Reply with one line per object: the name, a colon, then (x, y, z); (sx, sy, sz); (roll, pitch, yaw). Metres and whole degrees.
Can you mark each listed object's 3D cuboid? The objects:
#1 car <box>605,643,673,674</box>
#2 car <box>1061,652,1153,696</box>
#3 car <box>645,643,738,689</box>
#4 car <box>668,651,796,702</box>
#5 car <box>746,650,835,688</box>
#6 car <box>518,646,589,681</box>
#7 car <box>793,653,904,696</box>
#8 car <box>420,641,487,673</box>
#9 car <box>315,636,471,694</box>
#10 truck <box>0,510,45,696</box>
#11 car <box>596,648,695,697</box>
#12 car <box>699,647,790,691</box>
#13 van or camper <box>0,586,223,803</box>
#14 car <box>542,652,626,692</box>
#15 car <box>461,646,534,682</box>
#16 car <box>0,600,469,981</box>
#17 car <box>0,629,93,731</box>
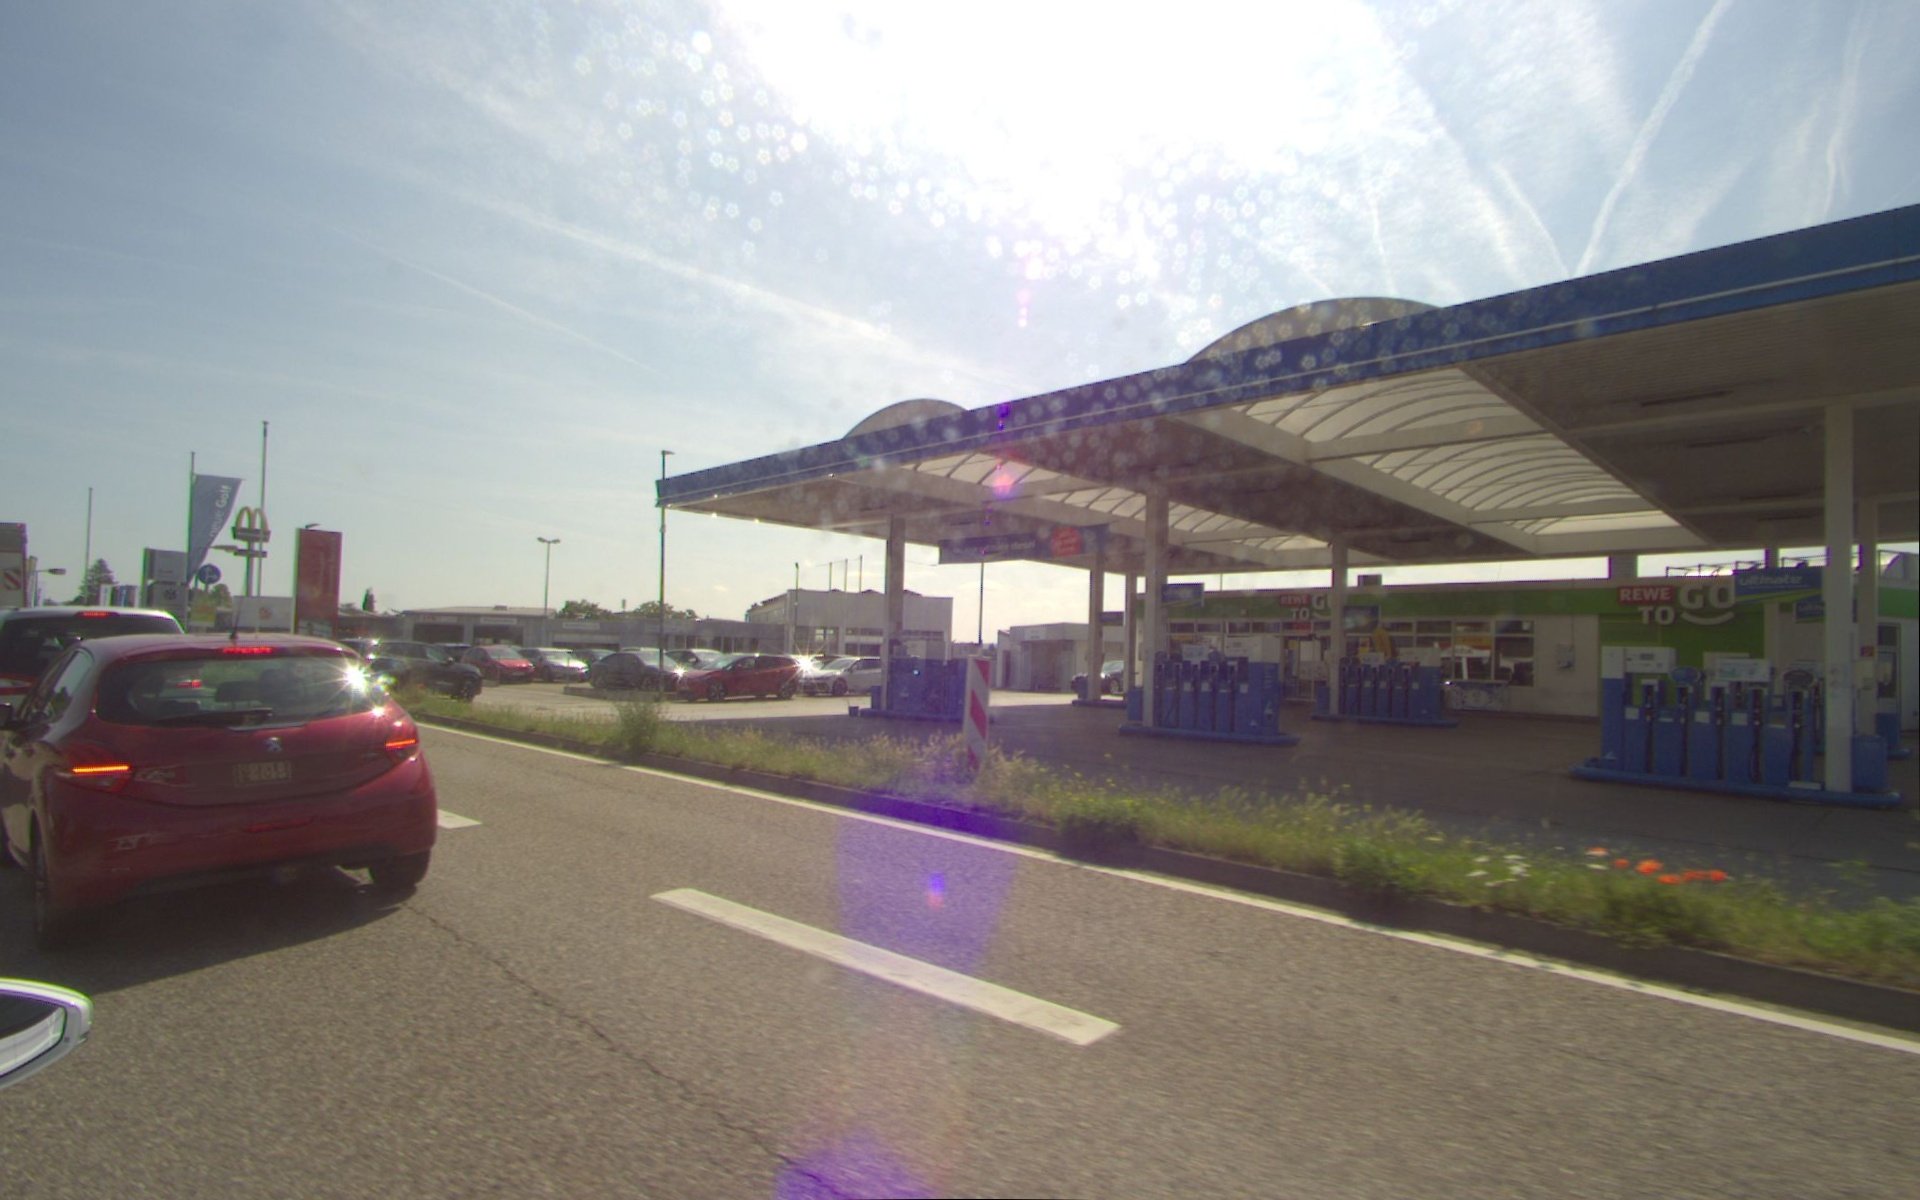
car: (-16.037, 2.890, 50.020); (3.646, 1.427, 1.551); (-1, -2, 40)
car: (5.991, 2.980, 40.525); (1.736, 1.658, 3.967); (-1, -4, 43)
car: (-10.283, 2.467, 38.214); (3.815, 1.615, 1.551); (-1, -2, 40)
car: (-7.657, 2.540, 33.867); (1.788, 1.592, 3.882); (-1, -3, 44)
car: (-7.117, 2.844, 41.824); (3.815, 1.461, 1.607); (-1, -2, 40)
car: (-18.376, 2.834, 45.218); (3.553, 1.427, 1.551); (-1, -2, 40)
car: (-4.165, 2.819, 38.044); (1.545, 1.513, 4.312); (-1, -4, 40)
car: (-23.842, 2.648, 47.064); (3.553, 1.427, 1.551); (-1, -2, 40)
car: (-15.129, 1.691, 26.915); (1.535, 1.427, 3.592); (0, -1, 16)
truck: (-24.544, 0.095, 23.709); (11.012, 3.859, 2.867); (-1, -3, 41)
car: (-11.281, 2.549, 35.874); (3.815, 1.615, 1.607); (-1, -2, 40)
car: (-8.698, 2.729, 40.318); (3.815, 1.615, 1.607); (-1, -2, 40)
van or camper: (-9.484, 0.864, 10.540); (5.076, 1.809, 1.739); (-1, -3, 42)
car: (-14.692, 2.779, 39.086); (3.554, 1.427, 1.551); (-1, -2, 41)
car: (-20.106, 2.763, 43.499); (3.553, 1.427, 1.551); (-1, -2, 40)
car: (-4.636, 0.846, 6.118); (3.674, 1.592, 1.791); (-1, -2, 43)
car: (-15.165, 1.185, 15.730); (4.176, 1.446, 1.728); (-1, -3, 41)
